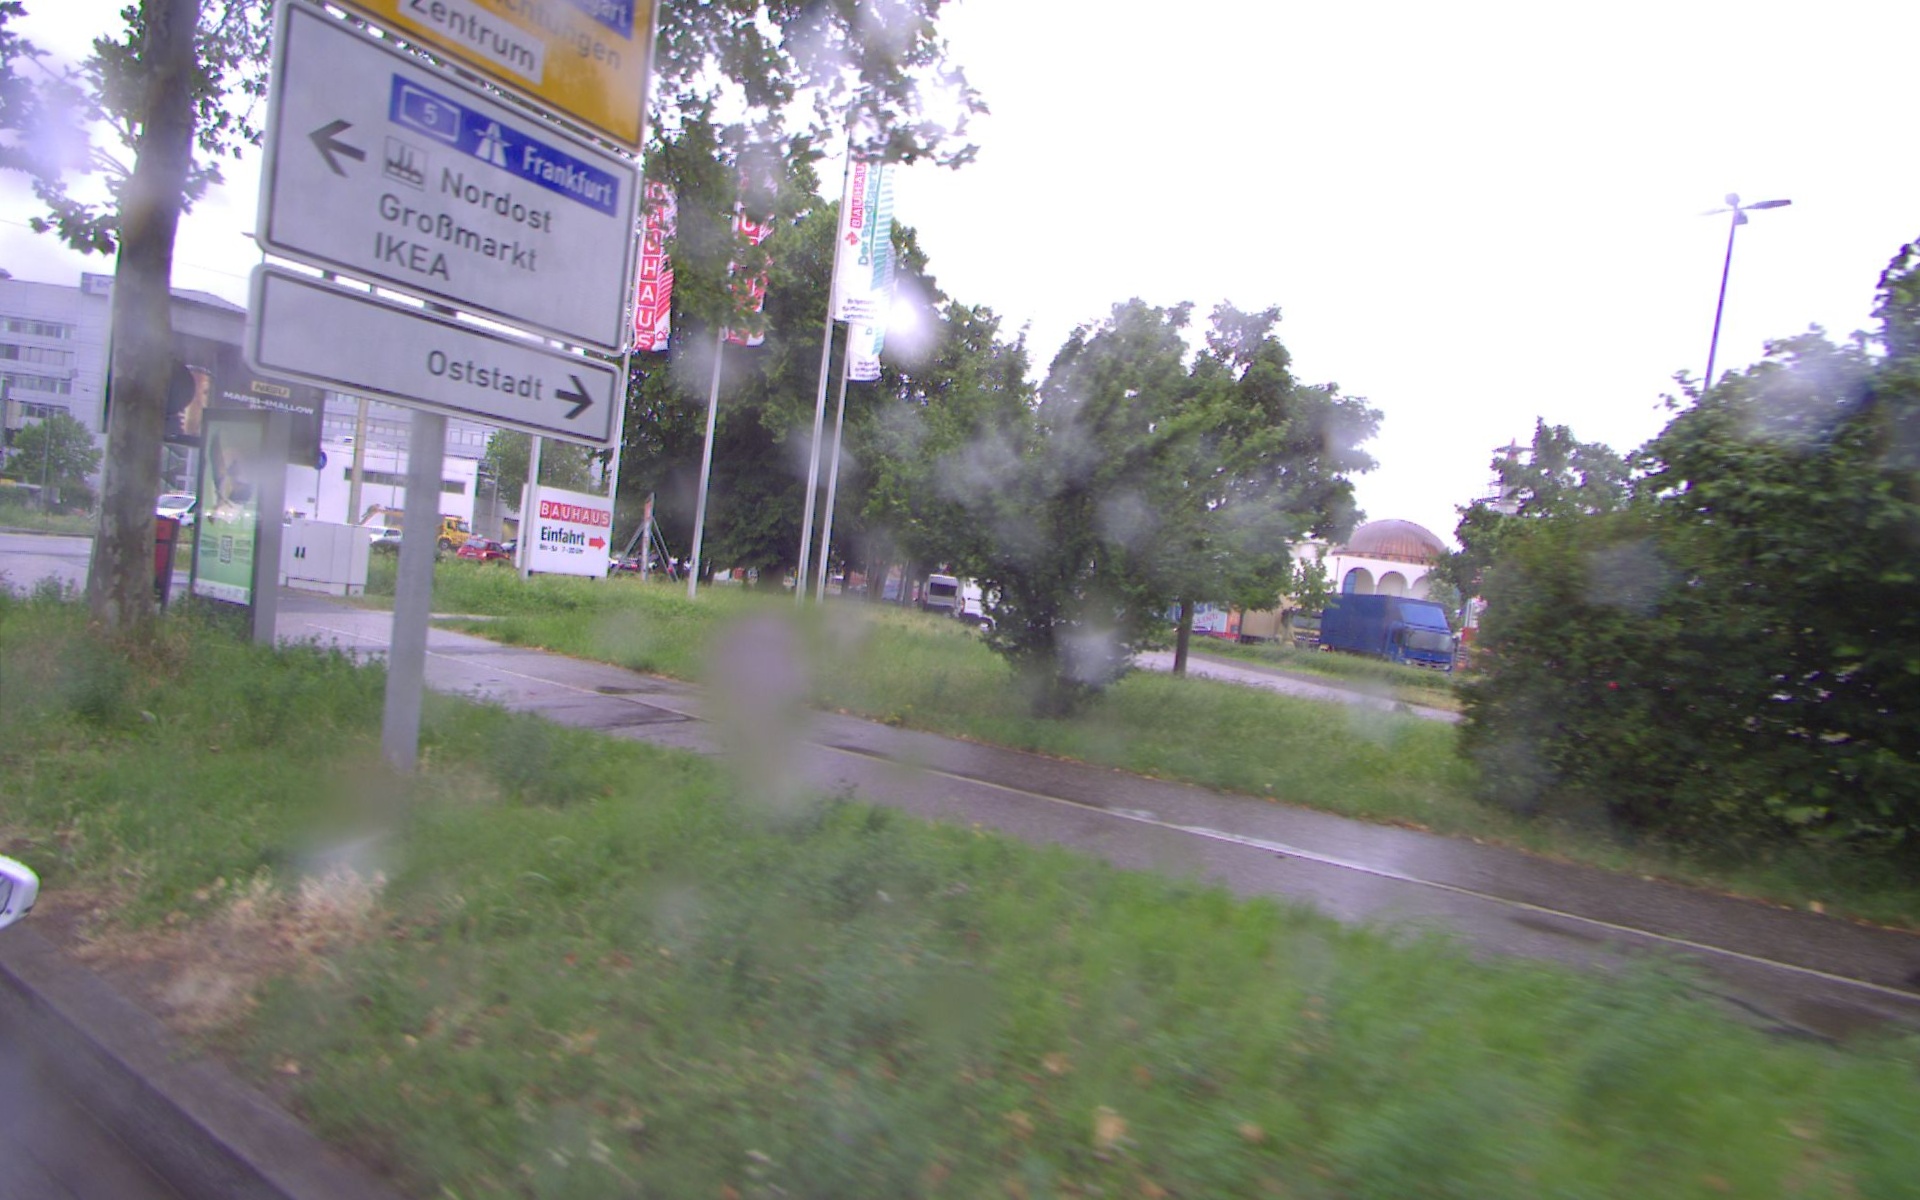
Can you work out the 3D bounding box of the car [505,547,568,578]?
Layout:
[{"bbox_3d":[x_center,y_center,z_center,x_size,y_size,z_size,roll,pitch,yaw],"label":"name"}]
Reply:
[{"bbox_3d":[-26.224,-2.315,62.517,1.892,1.509,4.828,6,0,-2],"label":"car"}]

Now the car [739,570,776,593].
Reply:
[{"bbox_3d":[-15.809,-1.439,78.714,1.892,1.509,4.828,6,0,-2],"label":"car"}]

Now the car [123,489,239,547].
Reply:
[{"bbox_3d":[-36.627,-3.786,47.451,1.964,2.152,4.684,6,0,-5],"label":"car"}]

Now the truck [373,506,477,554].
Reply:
[{"bbox_3d":[-50.814,-6.614,95.734,7.747,3.552,3.325,6,1,-4],"label":"truck"}]

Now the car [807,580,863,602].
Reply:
[{"bbox_3d":[-13.569,-1.019,109.606,5.853,1.754,2.276,6,1,-3],"label":"car"}]

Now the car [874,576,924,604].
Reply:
[{"bbox_3d":[-5.967,-0.957,99.159,4.670,2.241,1.964,6,1,-3],"label":"car"}]

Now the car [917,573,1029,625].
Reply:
[{"bbox_3d":[0.678,-0.050,56.233,5.955,2.232,2.190,6,1,-3],"label":"car"}]

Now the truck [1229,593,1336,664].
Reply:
[{"bbox_3d":[18.598,1.557,58.794,2.507,3.511,9.397,7,-1,-2],"label":"truck"}]

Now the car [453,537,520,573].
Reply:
[{"bbox_3d":[-25.403,-2.379,54.104,1.647,1.508,3.818,7,-1,0],"label":"car"}]

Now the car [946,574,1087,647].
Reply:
[{"bbox_3d":[2.171,0.398,39.511,5.015,2.232,2.188,6,1,-9],"label":"car"}]

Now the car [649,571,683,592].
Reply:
[{"bbox_3d":[-27.148,-1.710,92.964,1.892,1.606,4.623,6,0,-4],"label":"car"}]

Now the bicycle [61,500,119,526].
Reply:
[{"bbox_3d":[-47.125,-4.699,54.538,2.294,1.059,0.840,6,1,-39],"label":"bicycle"}]

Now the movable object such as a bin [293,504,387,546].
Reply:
[{"bbox_3d":[-58.730,-7.039,95.380,6.601,3.034,3.325,6,1,-5],"label":"movable object such as a bin"}]

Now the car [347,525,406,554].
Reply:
[{"bbox_3d":[-41.725,-4.298,72.079,1.744,1.641,4.378,6,0,-4],"label":"car"}]

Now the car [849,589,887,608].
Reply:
[{"bbox_3d":[-9.599,-0.186,105.326,3.749,1.509,1.677,7,-1,-5],"label":"car"}]

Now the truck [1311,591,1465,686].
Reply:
[{"bbox_3d":[18.836,1.535,44.965,2.507,3.513,8.008,7,0,-4],"label":"truck"}]
